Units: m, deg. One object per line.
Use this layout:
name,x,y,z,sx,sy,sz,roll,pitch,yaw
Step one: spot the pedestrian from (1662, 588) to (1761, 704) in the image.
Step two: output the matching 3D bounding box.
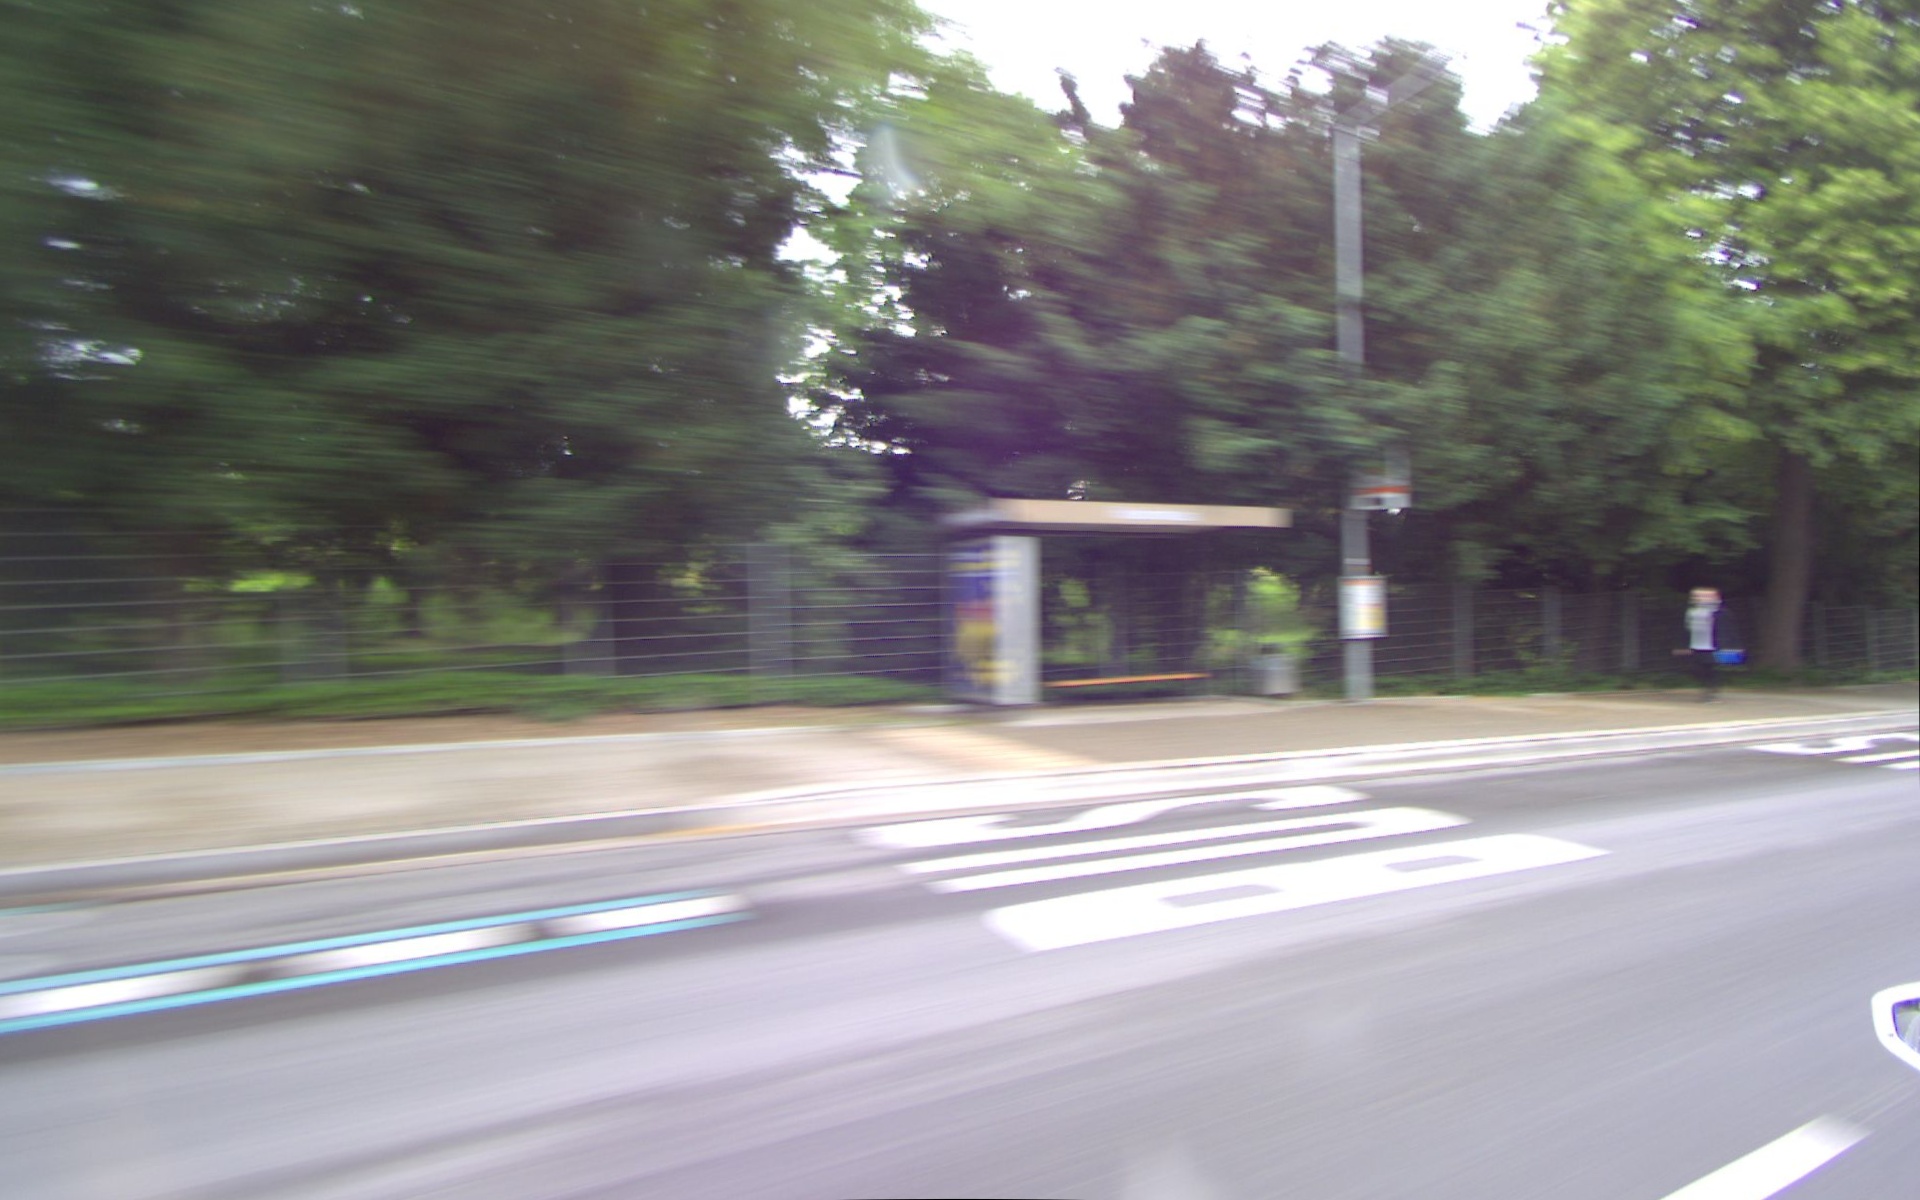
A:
pedestrian,11.916,0.702,15.931,1.133,1.756,0.882,1,0,-31
